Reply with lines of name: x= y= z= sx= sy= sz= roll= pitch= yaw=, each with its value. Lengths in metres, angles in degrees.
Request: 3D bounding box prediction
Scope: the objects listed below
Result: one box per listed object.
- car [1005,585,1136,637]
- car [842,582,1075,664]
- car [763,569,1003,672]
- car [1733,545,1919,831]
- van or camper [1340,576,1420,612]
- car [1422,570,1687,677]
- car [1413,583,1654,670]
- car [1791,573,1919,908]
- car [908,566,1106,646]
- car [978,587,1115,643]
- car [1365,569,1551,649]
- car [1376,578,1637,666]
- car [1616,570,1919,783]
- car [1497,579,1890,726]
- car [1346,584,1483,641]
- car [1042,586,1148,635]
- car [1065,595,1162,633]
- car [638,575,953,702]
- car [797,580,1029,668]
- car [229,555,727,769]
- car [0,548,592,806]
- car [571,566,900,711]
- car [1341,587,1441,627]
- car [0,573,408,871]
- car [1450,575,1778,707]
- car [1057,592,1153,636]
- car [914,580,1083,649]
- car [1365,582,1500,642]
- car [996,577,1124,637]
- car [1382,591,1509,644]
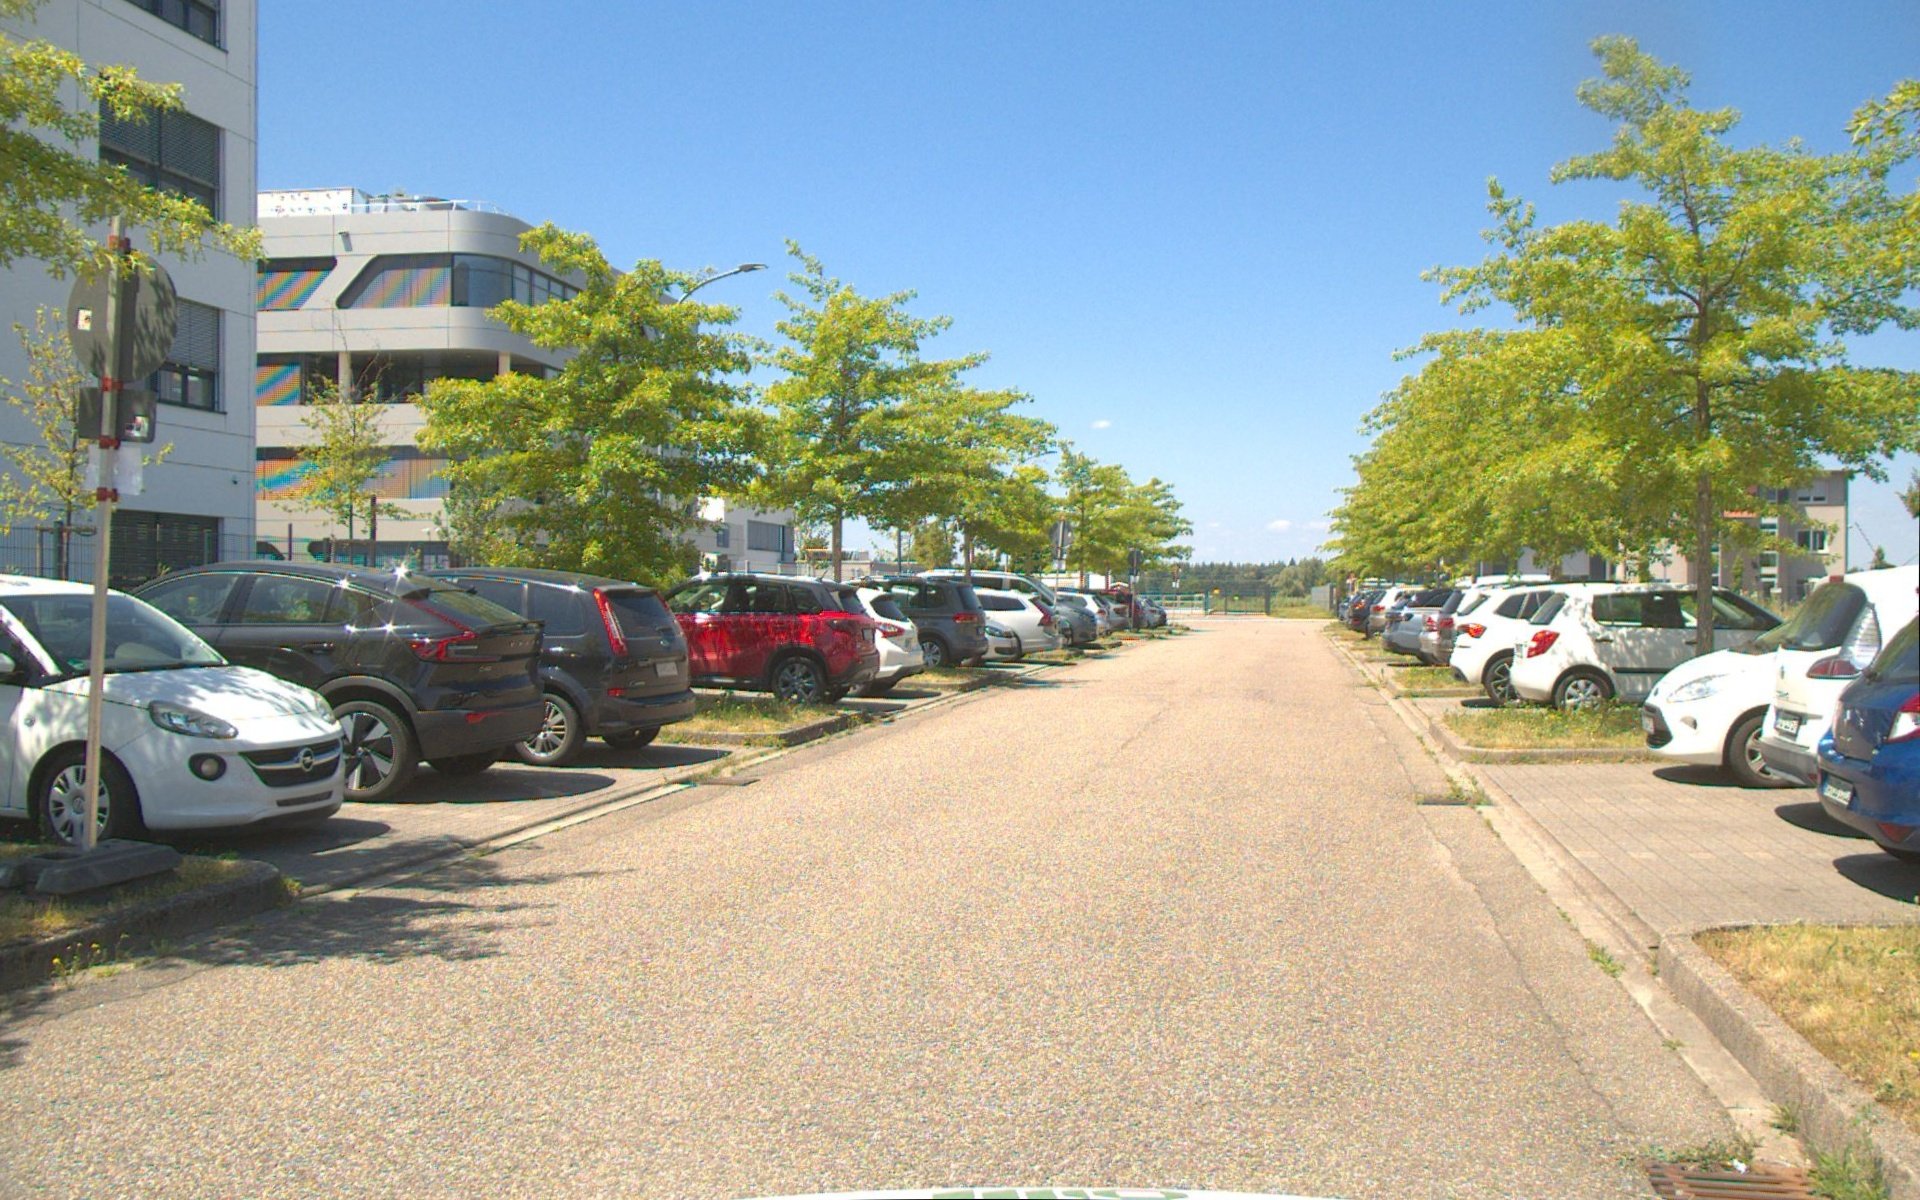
car: x=3.685 y=0.359 z=54.989 sx=4.104 sy=1.506 sz=1.714 roll=3 pitch=0 yaw=12
car: x=0.007 y=0.452 z=34.614 sx=4.613 sy=1.472 sz=1.859 roll=2 pitch=1 yaw=8
car: x=-1.373 y=0.351 z=30.125 sx=4.030 sy=1.663 sz=1.729 roll=2 pitch=1 yaw=10
car: x=7.146 y=0.450 z=10.196 sx=4.023 sy=1.679 sz=1.775 roll=-2 pitch=0 yaw=16
van or camper: x=26.846 y=-0.370 z=105.934 sx=4.831 sy=2.201 sz=2.002 roll=0 pitch=-1 yaw=11
car: x=9.895 y=0.390 z=27.816 sx=3.960 sy=1.653 sz=1.694 roll=-1 pitch=0 yaw=12
car: x=10.435 y=0.485 z=30.333 sx=3.960 sy=1.478 sz=1.647 roll=-1 pitch=0 yaw=12
car: x=6.360 y=0.565 z=7.941 sx=3.911 sy=1.516 sz=1.729 roll=-2 pitch=0 yaw=15
car: x=1.288 y=0.138 z=44.177 sx=4.962 sy=1.924 sz=1.999 roll=2 pitch=0 yaw=13
car: x=2.626 y=0.451 z=50.001 sx=3.951 sy=1.486 sz=1.606 roll=2 pitch=0 yaw=8
car: x=12.499 y=0.233 z=41.752 sx=4.309 sy=1.862 sz=1.797 roll=-1 pitch=-1 yaw=12
car: x=10.770 y=0.440 z=32.901 sx=4.615 sy=1.588 sz=1.915 roll=-1 pitch=0 yaw=8
car: x=7.208 y=0.533 z=12.897 sx=3.541 sy=1.488 sz=1.612 roll=-2 pitch=0 yaw=7
car: x=8.152 y=0.569 z=18.718 sx=3.752 sy=1.551 sz=1.781 roll=-1 pitch=0 yaw=11
car: x=14.550 y=0.397 z=53.162 sx=4.084 sy=1.726 sz=1.784 roll=-1 pitch=0 yaw=10
car: x=5.014 y=0.391 z=61.188 sx=3.658 sy=1.649 sz=1.818 roll=2 pitch=0 yaw=12
car: x=6.582 y=0.589 z=70.570 sx=3.989 sy=1.449 sz=1.875 roll=2 pitch=0 yaw=8
car: x=-2.315 y=0.500 z=23.675 sx=4.083 sy=1.539 sz=1.809 roll=2 pitch=2 yaw=13
car: x=-0.881 y=0.438 z=32.192 sx=4.219 sy=1.499 sz=1.729 roll=2 pitch=1 yaw=9
car: x=-4.201 y=0.490 z=14.664 sx=3.823 sy=1.619 sz=1.729 roll=2 pitch=1 yaw=11
car: x=-4.889 y=0.502 z=12.288 sx=3.756 sy=1.621 sz=1.831 roll=2 pitch=1 yaw=8
car: x=-2.805 y=0.453 z=21.081 sx=3.757 sy=1.619 sz=1.729 roll=2 pitch=1 yaw=9
car: x=19.115 y=0.306 z=73.526 sx=4.188 sy=1.673 sz=1.852 roll=-1 pitch=-1 yaw=11
car: x=-5.307 y=0.607 z=9.779 sx=3.430 sy=1.466 sz=1.729 roll=2 pitch=1 yaw=11
car: x=8.252 y=0.495 z=21.211 sx=3.753 sy=1.580 sz=1.781 roll=-1 pitch=1 yaw=17
car: x=5.601 y=0.531 z=63.739 sx=3.579 sy=1.535 sz=1.732 roll=2 pitch=0 yaw=8
car: x=0.981 y=0.337 z=41.150 sx=3.884 sy=1.510 sz=1.765 roll=3 pitch=1 yaw=12
car: x=14.372 y=0.360 z=50.434 sx=3.792 sy=1.707 sz=1.784 roll=-1 pitch=0 yaw=12
car: x=3.202 y=0.224 z=52.650 sx=3.903 sy=1.708 sz=1.778 roll=2 pitch=0 yaw=6
car: x=14.110 y=0.516 z=48.215 sx=3.383 sy=1.442 sz=1.756 roll=-1 pitch=0 yaw=11
